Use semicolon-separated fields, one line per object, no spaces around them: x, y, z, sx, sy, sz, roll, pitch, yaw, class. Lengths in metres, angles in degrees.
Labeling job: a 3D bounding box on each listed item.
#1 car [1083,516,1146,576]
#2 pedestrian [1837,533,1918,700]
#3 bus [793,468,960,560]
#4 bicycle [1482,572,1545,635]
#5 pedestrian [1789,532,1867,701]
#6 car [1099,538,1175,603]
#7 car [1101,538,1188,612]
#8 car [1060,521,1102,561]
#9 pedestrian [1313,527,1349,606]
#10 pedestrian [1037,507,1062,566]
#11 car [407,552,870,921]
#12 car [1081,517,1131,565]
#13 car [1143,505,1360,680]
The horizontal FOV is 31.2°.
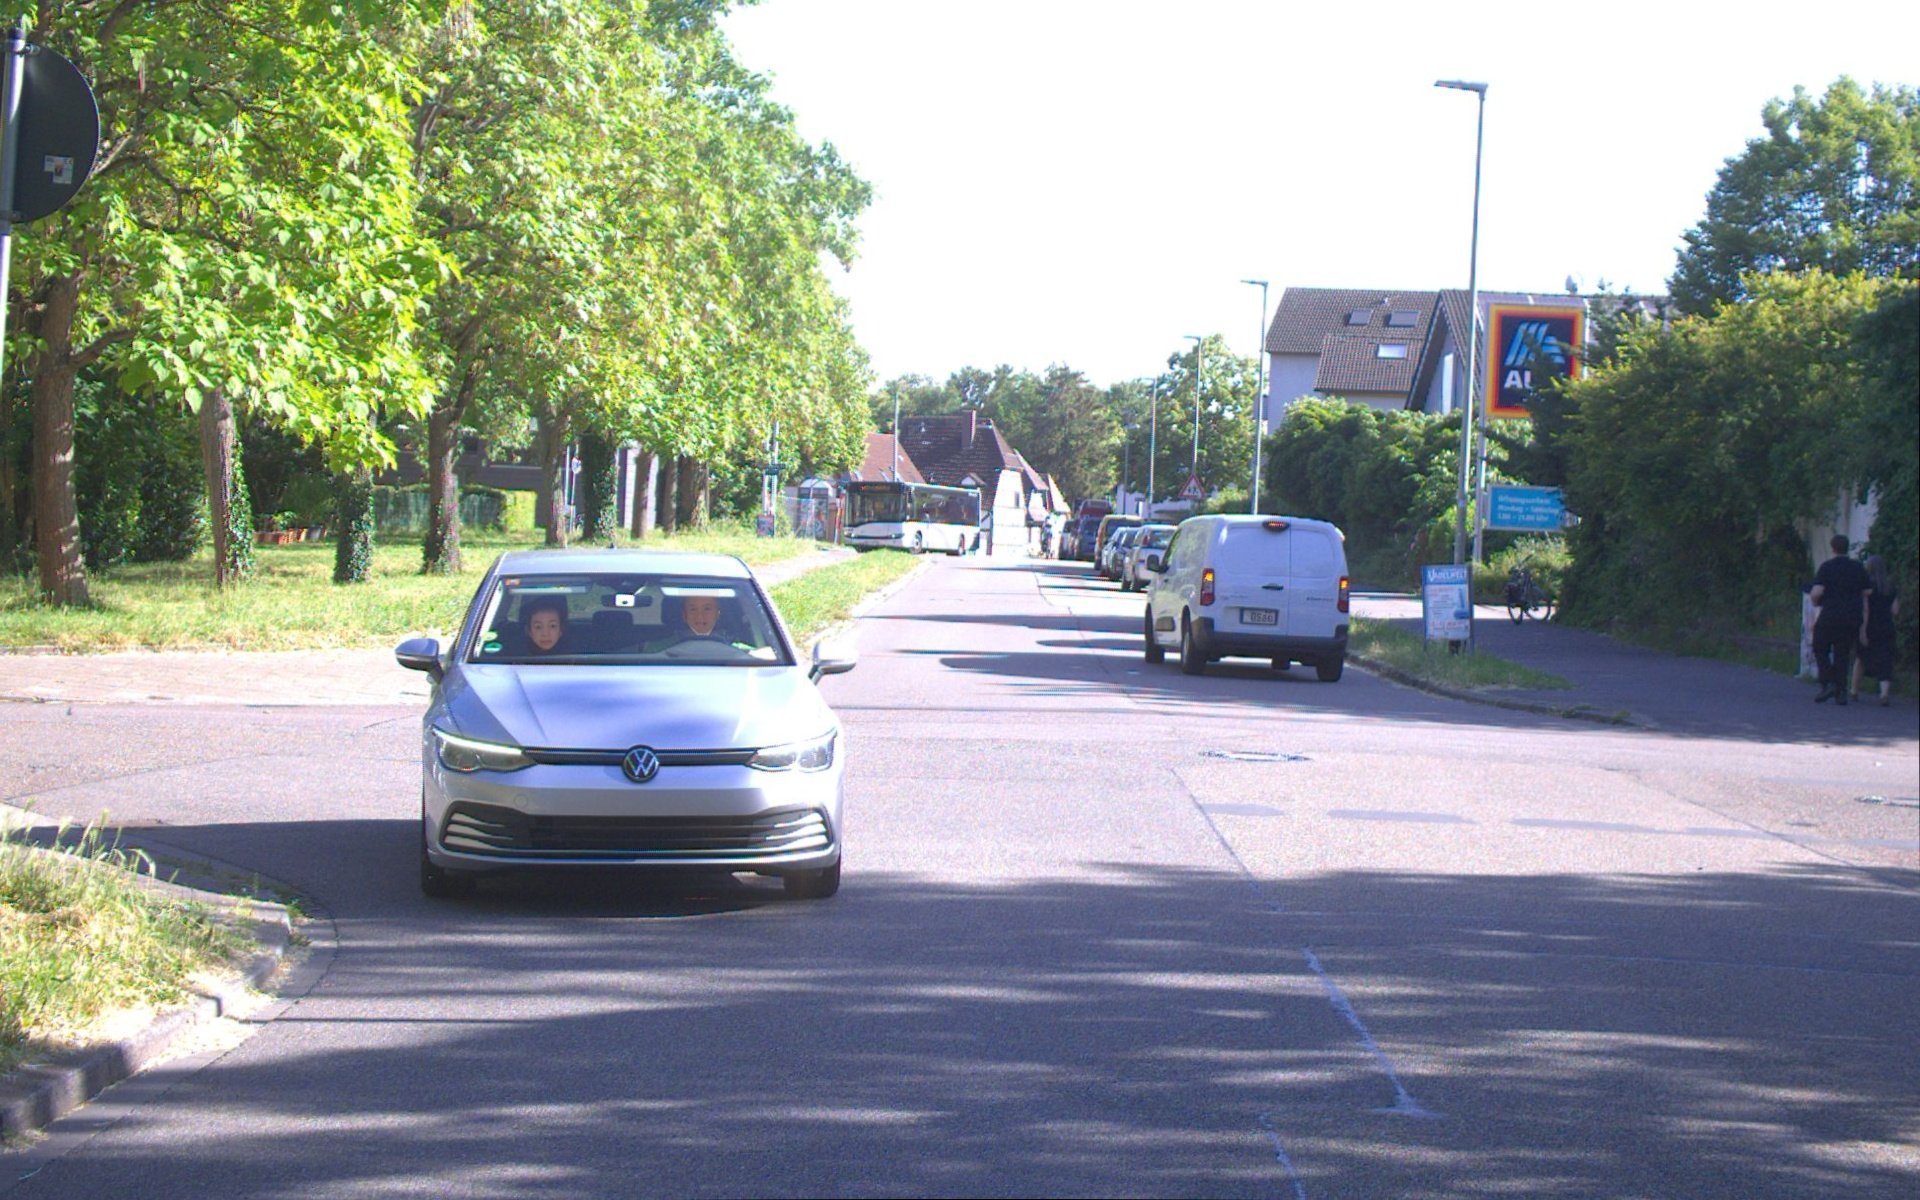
4.902;-1.730;109.670;1.781;1.802;4.000;2;1;0;car
9.423;0.164;35.332;0.569;1.677;0.514;2;1;-9;pedestrian
-3.111;-3.282;132.403;4.067;3.337;9.795;2;1;13;bus
9.561;0.063;59.301;0.637;1.023;2.162;5;1;19;bicycle
8.832;0.164;34.992;0.569;1.677;0.514;2;1;-3;pedestrian
4.749;-0.814;92.533;1.781;1.647;4.000;2;1;0;car
4.326;-0.615;81.190;1.781;1.647;4.000;2;1;0;car
5.744;-2.805;163.068;1.781;1.802;4.000;2;1;0;car
9.700;-0.883;89.931;0.641;2.007;0.701;4;1;-6;pedestrian
3.298;-2.338;126.573;0.752;2.106;0.799;5;1;4;pedestrian
-1.511;0.519;15.575;1.805;1.415;3.960;1;1;-7;car
5.792;-2.353;136.729;1.781;1.802;4.000;2;1;0;car
3.317;-0.123;39.890;1.946;1.836;4.001;3;1;-2;car
